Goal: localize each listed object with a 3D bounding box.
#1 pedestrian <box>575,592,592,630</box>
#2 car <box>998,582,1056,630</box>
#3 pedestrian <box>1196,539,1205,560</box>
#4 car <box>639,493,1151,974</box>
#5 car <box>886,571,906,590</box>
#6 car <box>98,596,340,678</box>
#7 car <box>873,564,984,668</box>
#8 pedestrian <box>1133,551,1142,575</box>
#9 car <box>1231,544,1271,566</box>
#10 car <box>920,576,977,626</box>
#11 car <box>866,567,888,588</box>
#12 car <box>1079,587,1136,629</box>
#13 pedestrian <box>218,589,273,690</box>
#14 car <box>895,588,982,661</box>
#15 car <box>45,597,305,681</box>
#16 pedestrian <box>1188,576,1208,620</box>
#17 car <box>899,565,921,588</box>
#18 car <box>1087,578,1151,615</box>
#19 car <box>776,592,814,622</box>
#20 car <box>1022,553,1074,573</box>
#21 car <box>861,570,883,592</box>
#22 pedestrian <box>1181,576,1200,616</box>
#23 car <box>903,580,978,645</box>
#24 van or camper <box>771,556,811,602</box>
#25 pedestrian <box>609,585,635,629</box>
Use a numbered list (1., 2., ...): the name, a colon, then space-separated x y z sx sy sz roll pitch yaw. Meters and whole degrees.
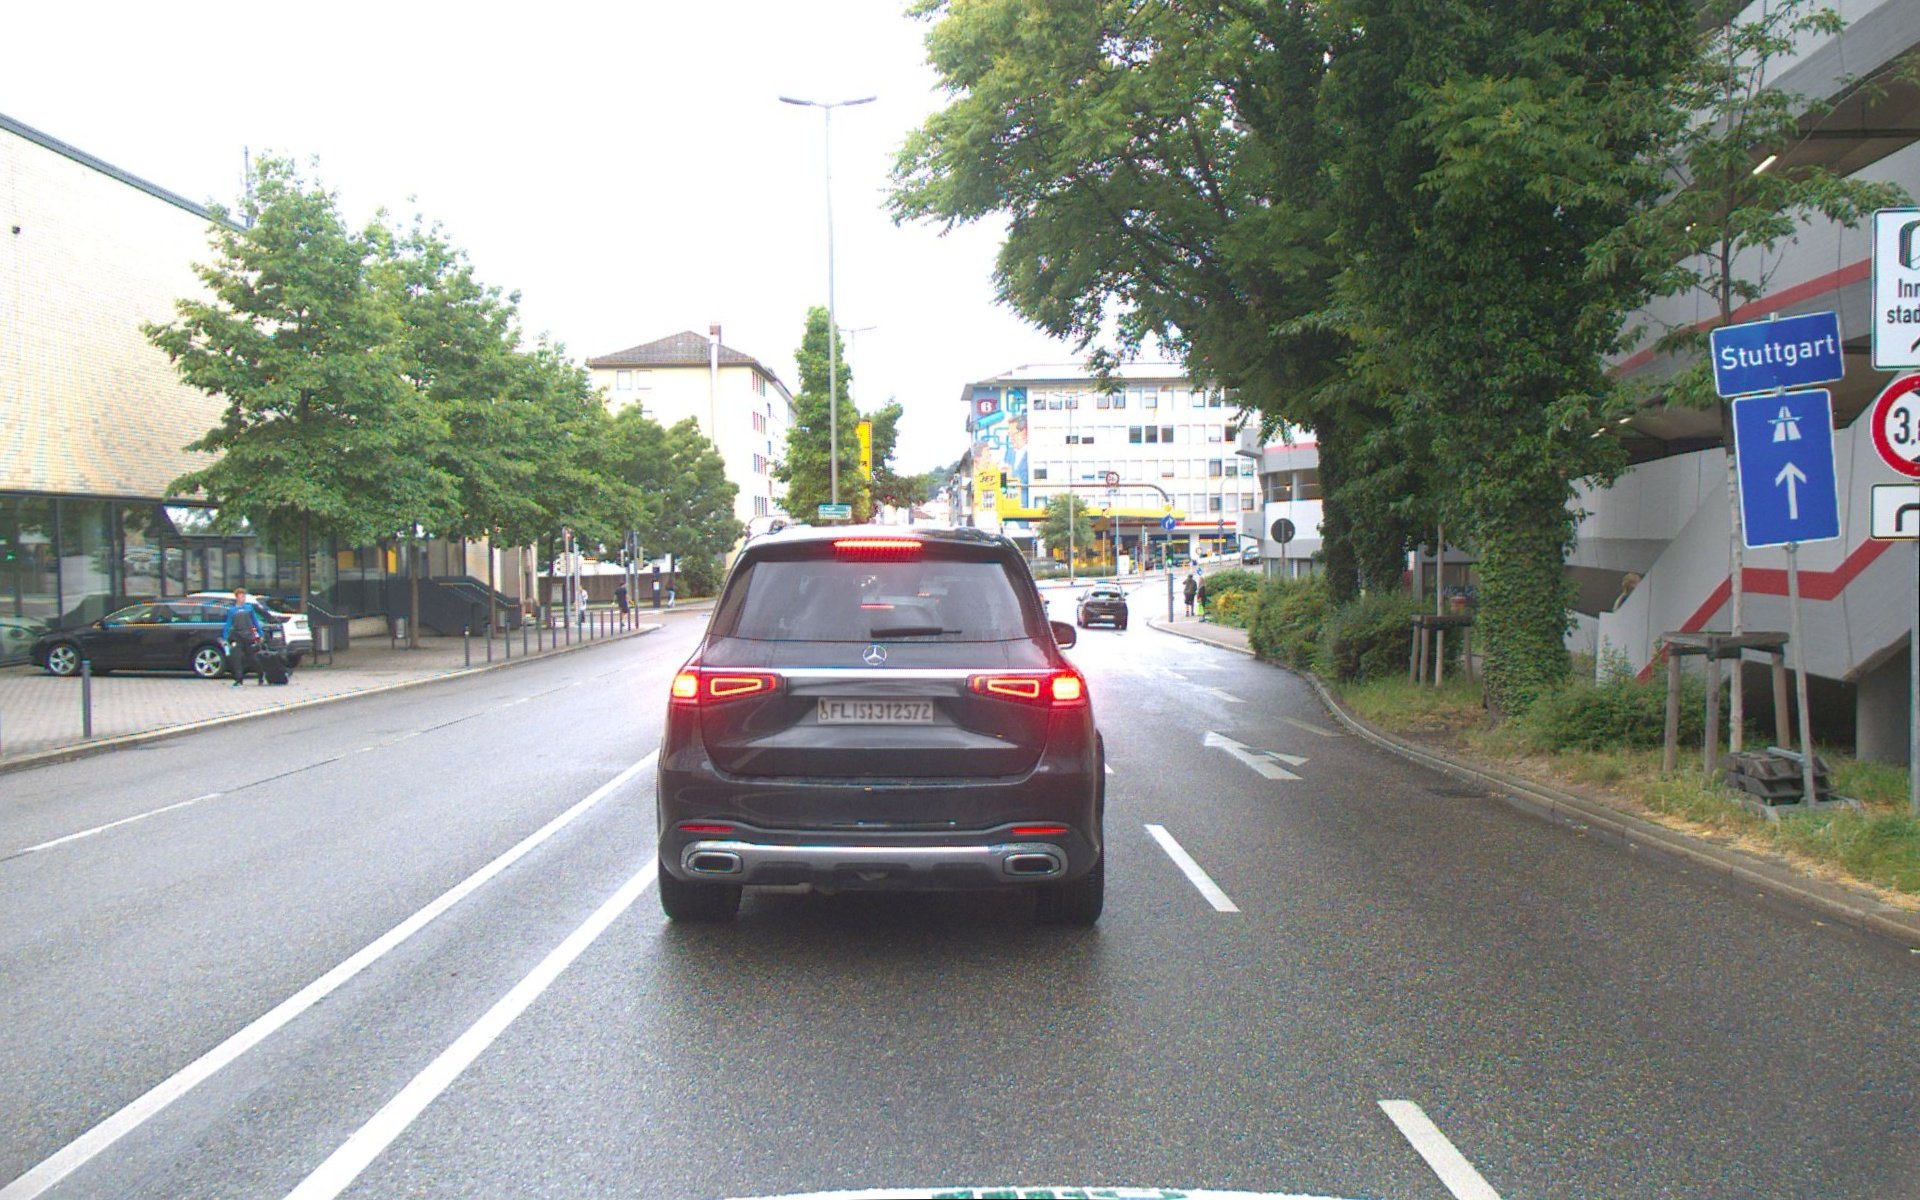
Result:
1. pedestrian: -16.815 0.479 73.885 0.630 1.695 1.017 1 0 -7
2. car: 2.275 0.186 57.256 1.760 1.552 4.055 1 1 -1
3. pedestrian: 19.897 -4.187 137.022 0.515 1.757 0.689 0 1 26
4. car: -0.275 0.528 8.410 1.953 1.832 3.999 1 0 -1
5. car: -7.164 -2.182 185.535 1.953 2.049 4.000 1 0 0
6. car: -15.341 0.753 34.400 4.090 1.574 2.000 1 0 0
7. car: -0.591 0.292 31.428 1.953 1.832 3.999 1 0 -1
8. pedestrian: 12.915 -2.688 120.540 0.560 1.727 0.631 1 -1 0
9. car: 24.431 -3.793 138.691 1.958 1.735 3.990 -1 1 33
10. car: -0.403 0.040 56.889 1.869 1.614 3.999 1 0 -1
11. car: -8.371 -2.279 166.972 1.953 2.049 4.000 1 0 0
12. car: 5.513 0.296 62.342 1.905 1.512 4.001 1 0 2
13. pedestrian: -12.584 0.695 29.132 0.621 1.744 0.705 1 -1 2
14. car: -0.494 0.539 37.701 1.869 1.527 3.999 1 0 -1
15. car: -15.138 0.747 32.100 4.097 1.521 1.997 1 0 -8
16. pedestrian: 9.438 -0.066 65.599 0.634 1.740 0.470 0 -1 35
17. car: -4.764 -2.252 158.358 1.953 2.049 4.000 1 0 0
18. car: 7.122 -0.126 73.697 1.719 1.576 3.999 1 0 23
19. car: -8.619 0.350 86.651 1.706 1.496 3.880 -2 0 -3
20. car: 6.848 -2.887 128.668 1.724 1.400 3.935 -3 2 -44
21. car: -7.488 -1.590 140.647 1.868 1.733 3.997 1 0 -4
22. pedestrian: 10.058 -0.164 72.273 0.703 1.720 0.455 1 -1 -7
23. car: -0.527 0.330 44.256 1.869 1.614 3.999 1 0 -1
24. van or camper: -10.259 -1.261 100.753 2.060 2.627 5.903 -2 0 -4
25. pedestrian: -13.543 0.276 66.282 0.931 1.734 0.709 1 -1 -18
